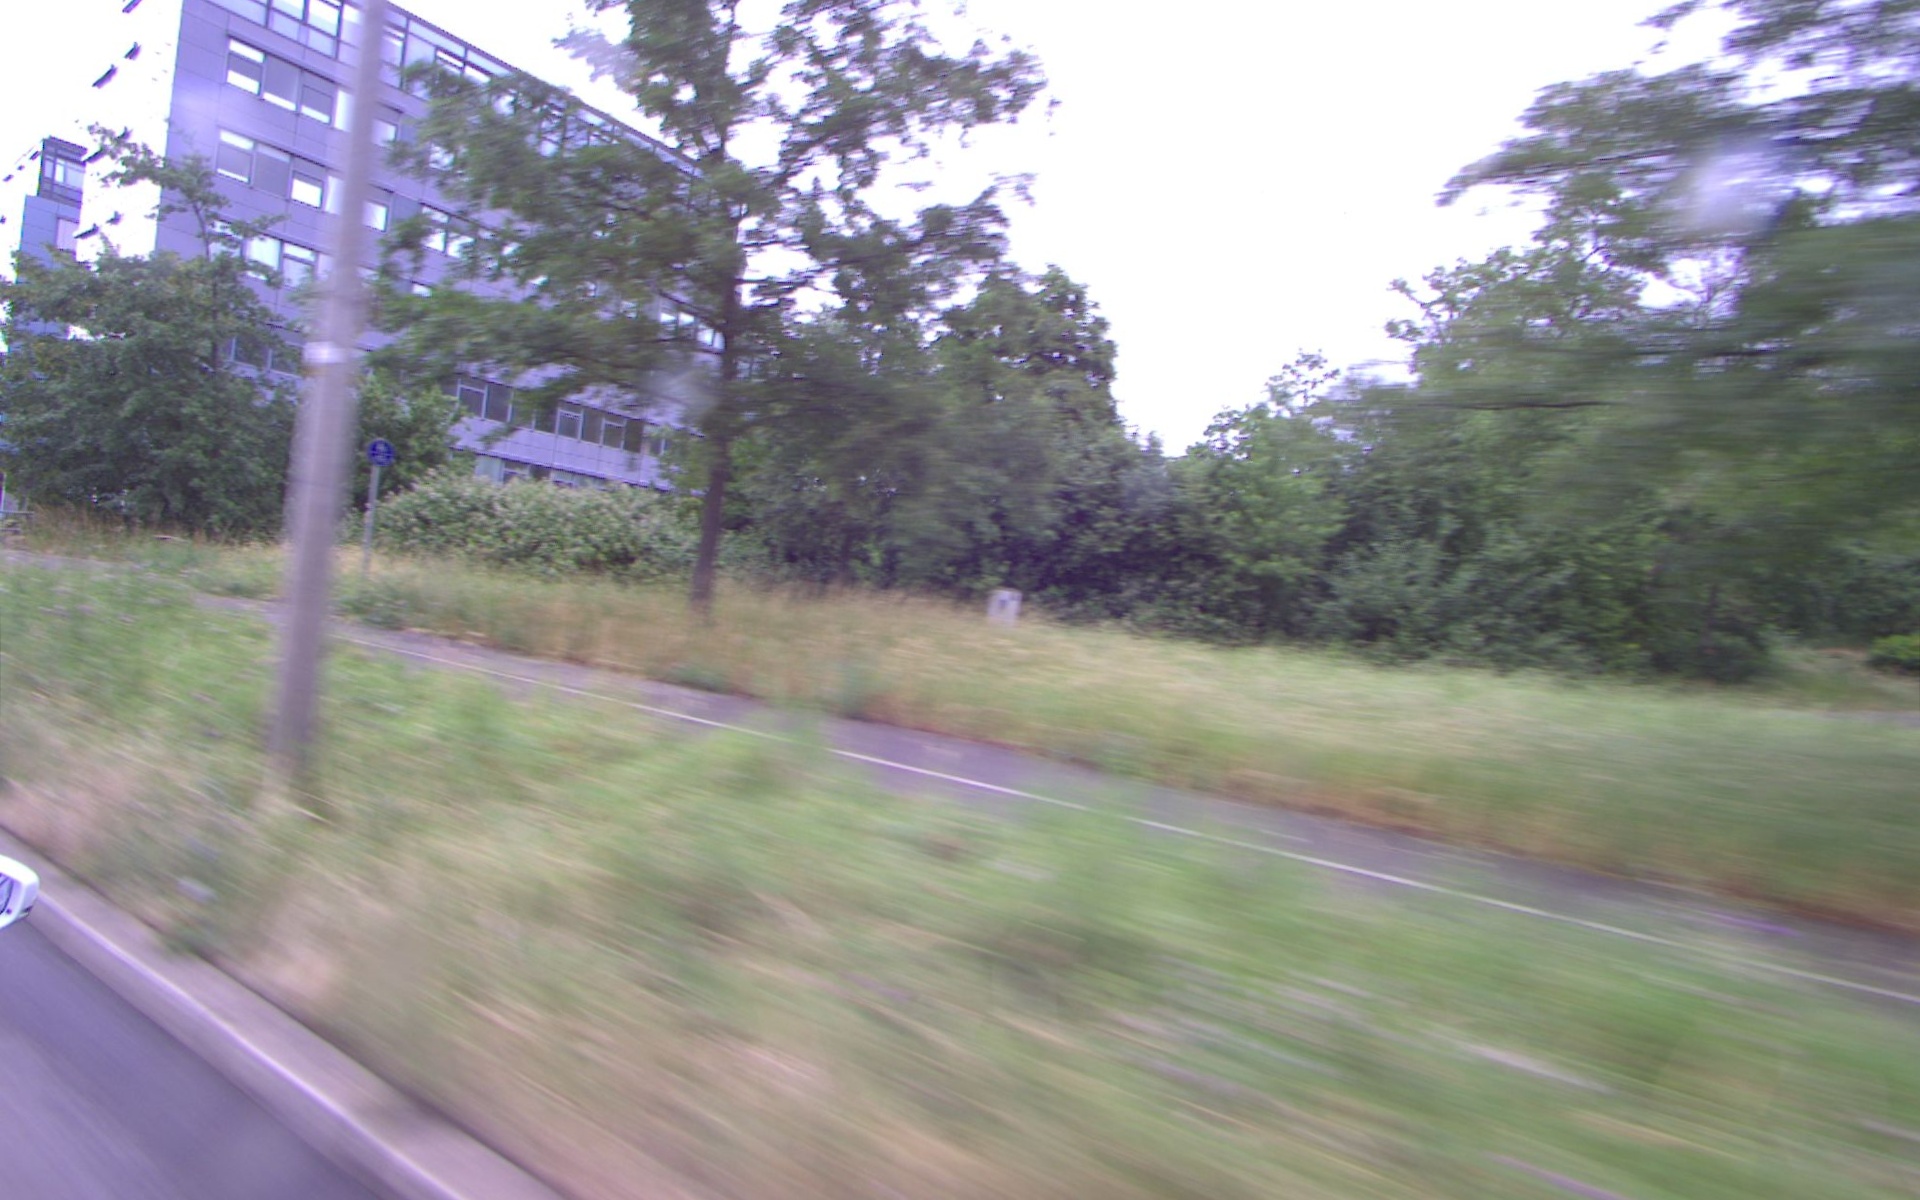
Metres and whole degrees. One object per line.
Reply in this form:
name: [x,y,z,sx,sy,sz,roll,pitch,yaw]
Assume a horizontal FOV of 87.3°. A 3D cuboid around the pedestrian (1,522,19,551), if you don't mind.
pedestrian: [-49.648,-3.308,52.593,0.450,1.425,0.503,5,-1,37]
